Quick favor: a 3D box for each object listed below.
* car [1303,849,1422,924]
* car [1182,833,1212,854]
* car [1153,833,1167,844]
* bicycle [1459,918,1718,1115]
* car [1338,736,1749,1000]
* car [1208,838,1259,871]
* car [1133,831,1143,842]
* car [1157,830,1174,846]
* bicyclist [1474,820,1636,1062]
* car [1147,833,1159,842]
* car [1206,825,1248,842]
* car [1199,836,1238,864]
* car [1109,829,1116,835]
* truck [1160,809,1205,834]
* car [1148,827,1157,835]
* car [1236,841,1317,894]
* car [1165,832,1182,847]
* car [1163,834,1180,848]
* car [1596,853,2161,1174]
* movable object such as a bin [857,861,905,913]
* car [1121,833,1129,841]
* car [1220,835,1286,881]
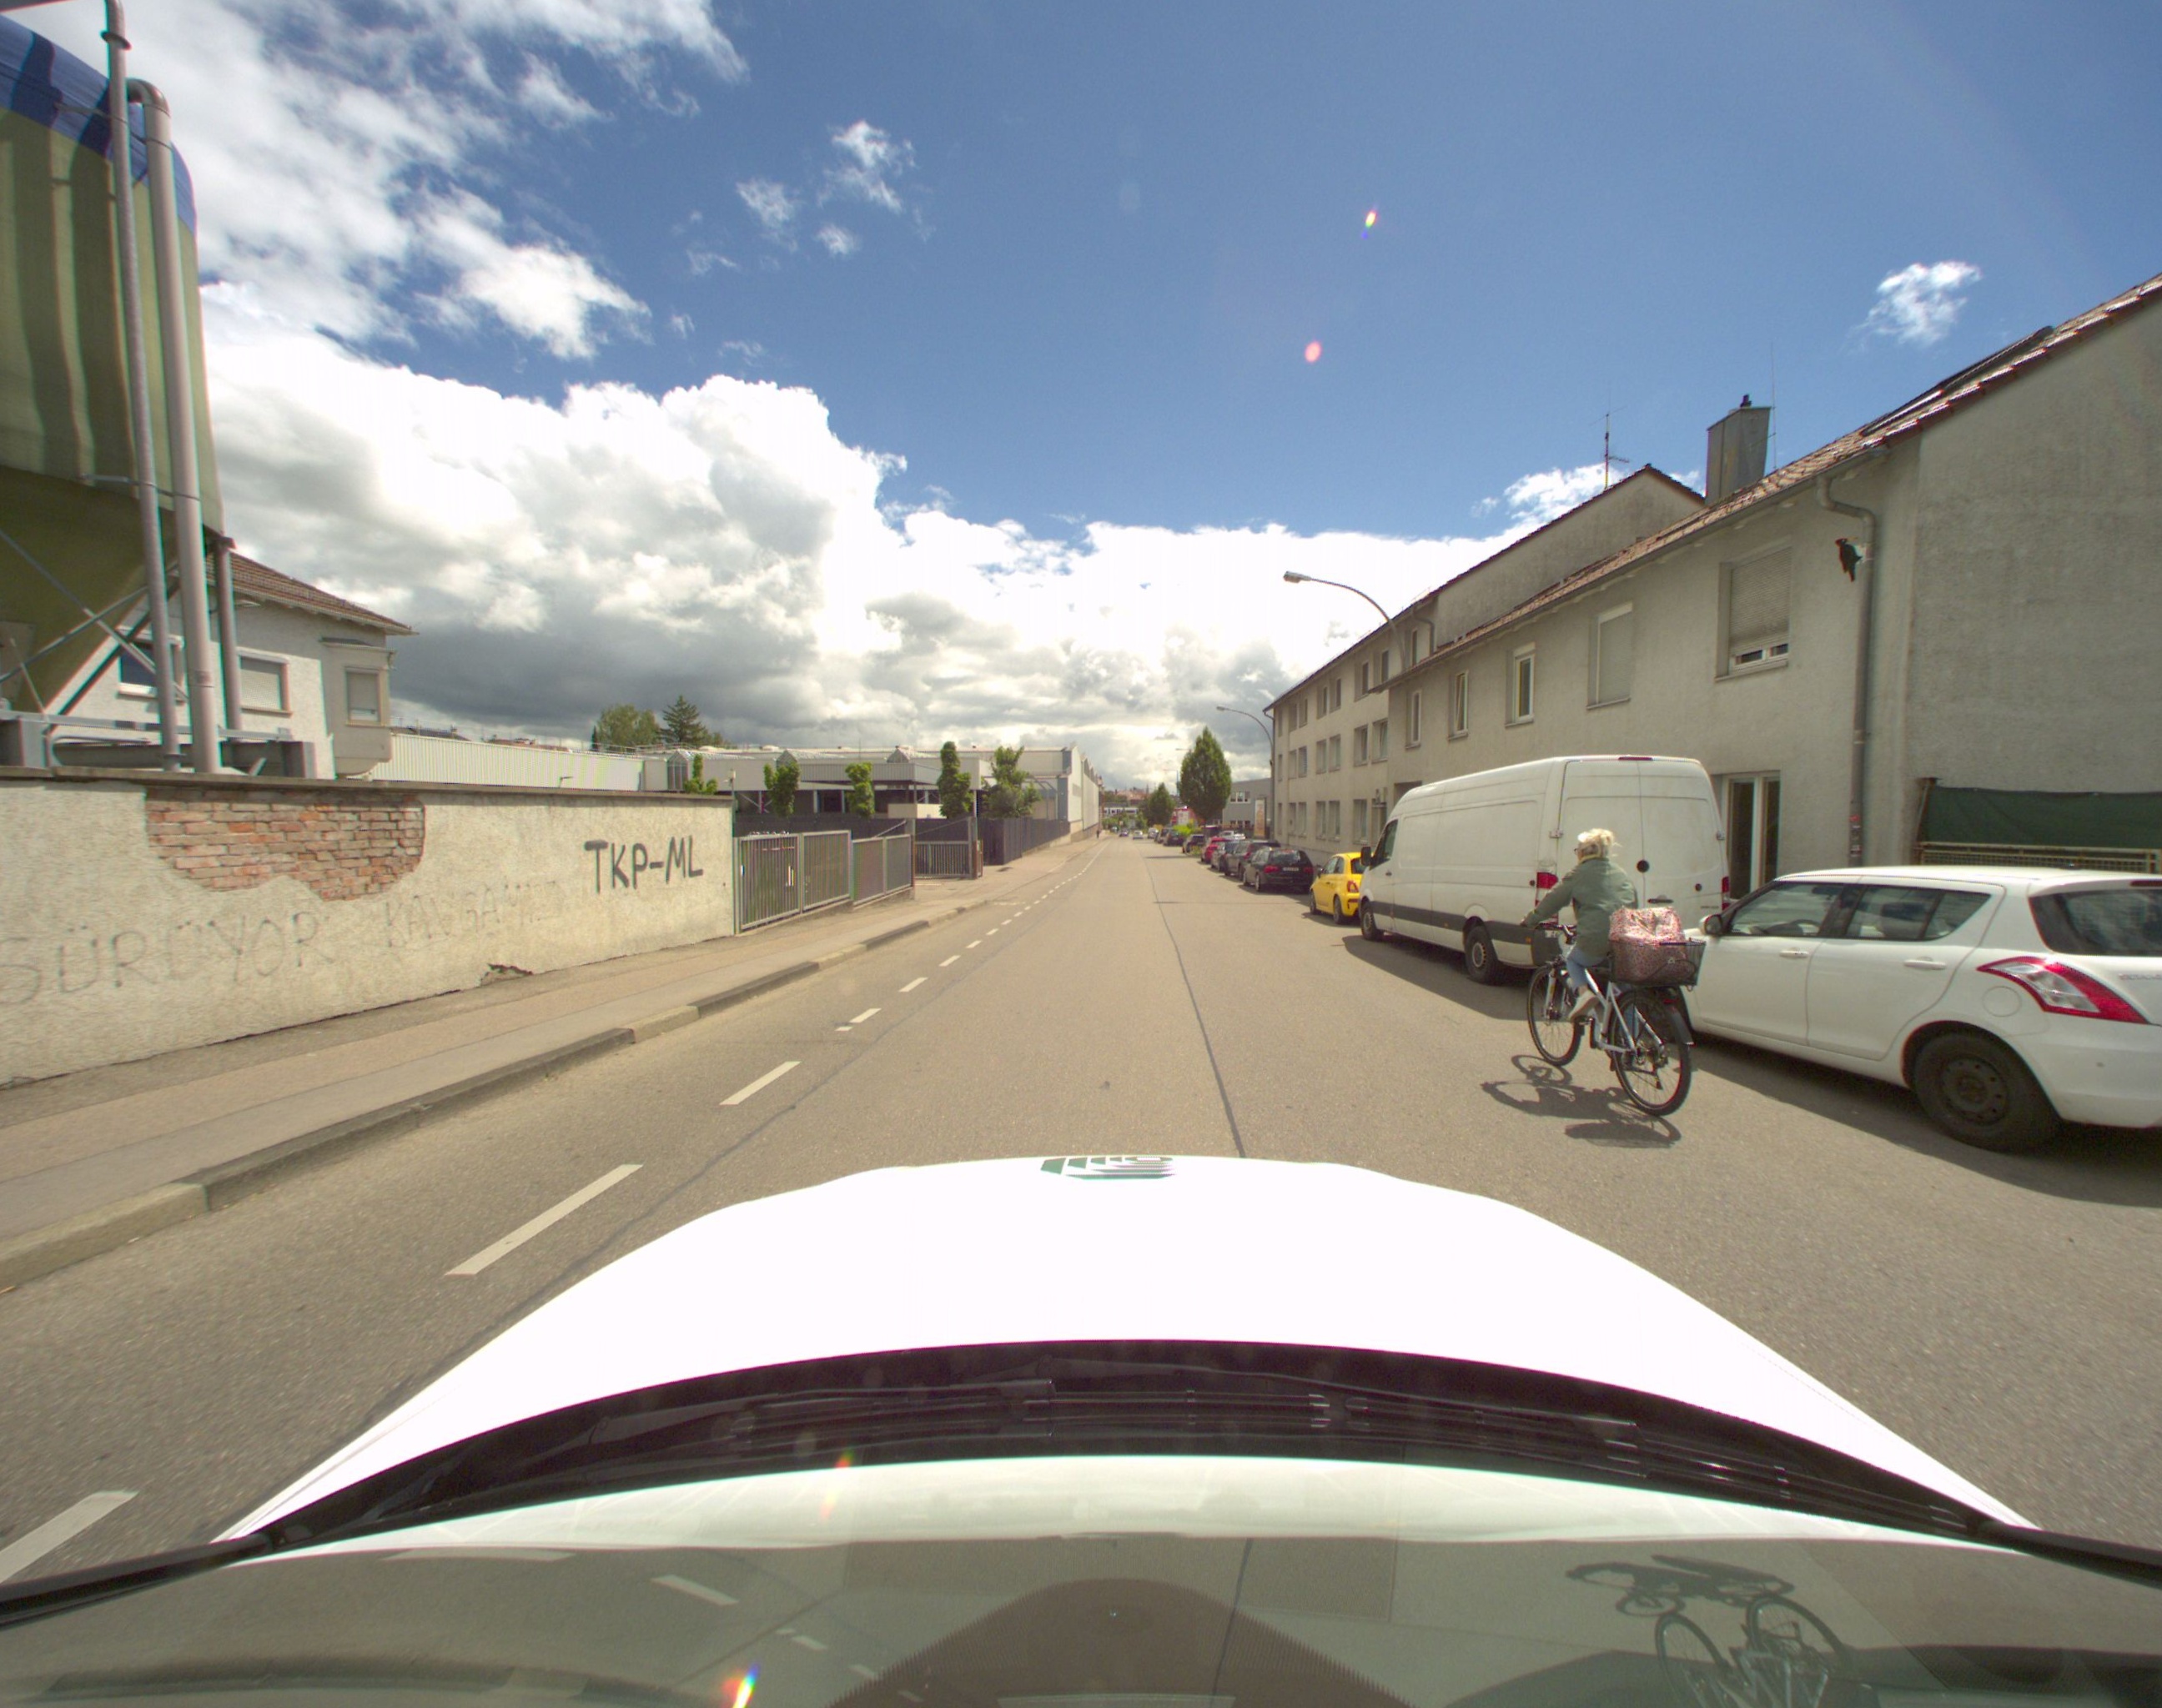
[{"bbox_3d":[6.134,0.637,18.168,1.586,1.447,3.794,0,1,4],"label":"car"},{"bbox_3d":[8.789,-0.811,61.996,1.784,1.465,4.710,0,1,2],"label":"car"},{"bbox_3d":[11.364,-2.231,117.151,1.707,1.473,4.515,0,1,3],"label":"car"},{"bbox_3d":[3.369,1.019,5.627,0.737,0.975,1.733,0,1,1],"label":"bicycle"},{"bbox_3d":[5.778,0.162,11.817,2.025,2.641,7.286,0,0,2],"label":"car"},{"bbox_3d":[7.294,-0.022,39.436,1.728,1.423,4.864,1,2,2],"label":"car"},{"bbox_3d":[9.590,-2.884,137.130,1.560,1.786,3.608,0,0,3],"label":"car"},{"bbox_3d":[10.703,-2.093,103.692,1.861,1.990,5.148,0,1,3],"label":"car"},{"bbox_3d":[3.370,0.586,5.853,0.737,1.626,0.731,0,-1,0],"label":"bicyclist"},{"bbox_3d":[13.093,-3.046,147.721,1.696,1.527,3.737,2,2,-1],"label":"car"},{"bbox_3d":[14.707,-2.046,82.075,1.733,1.462,4.030,-5,2,-35],"label":"car"},{"bbox_3d":[7.736,-0.268,46.138,1.727,1.472,4.266,0,2,3],"label":"car"},{"bbox_3d":[8.367,-5.777,215.006,1.845,1.486,4.002,0,0,2],"label":"car"},{"bbox_3d":[20.152,-6.361,161.243,8.374,4.670,2.597,0,-1,24],"label":"truck"},{"bbox_3d":[13.824,-4.510,158.353,1.693,1.527,3.743,0,1,5],"label":"car"},{"bbox_3d":[6.648,0.378,28.192,1.698,1.509,5.091,2,2,2],"label":"car"},{"bbox_3d":[10.030,-1.566,88.628,1.671,1.638,4.128,0,1,5],"label":"car"},{"bbox_3d":[10.355,-1.473,93.774,1.648,1.540,4.738,0,1,3],"label":"car"},{"bbox_3d":[5.562,0.757,5.720,1.587,1.510,3.791,0,0,2],"label":"car"},{"bbox_3d":[-5.926,0.964,24.201,0.986,1.392,1.217,-3,2,5],"label":"movable object such as a bin"},{"bbox_3d":[9.359,-3.557,173.707,1.712,1.555,4.291,-4,0,2],"label":"car"},{"bbox_3d":[7.054,0.104,33.853,1.671,1.638,4.796,1,2,-1],"label":"car"}]
